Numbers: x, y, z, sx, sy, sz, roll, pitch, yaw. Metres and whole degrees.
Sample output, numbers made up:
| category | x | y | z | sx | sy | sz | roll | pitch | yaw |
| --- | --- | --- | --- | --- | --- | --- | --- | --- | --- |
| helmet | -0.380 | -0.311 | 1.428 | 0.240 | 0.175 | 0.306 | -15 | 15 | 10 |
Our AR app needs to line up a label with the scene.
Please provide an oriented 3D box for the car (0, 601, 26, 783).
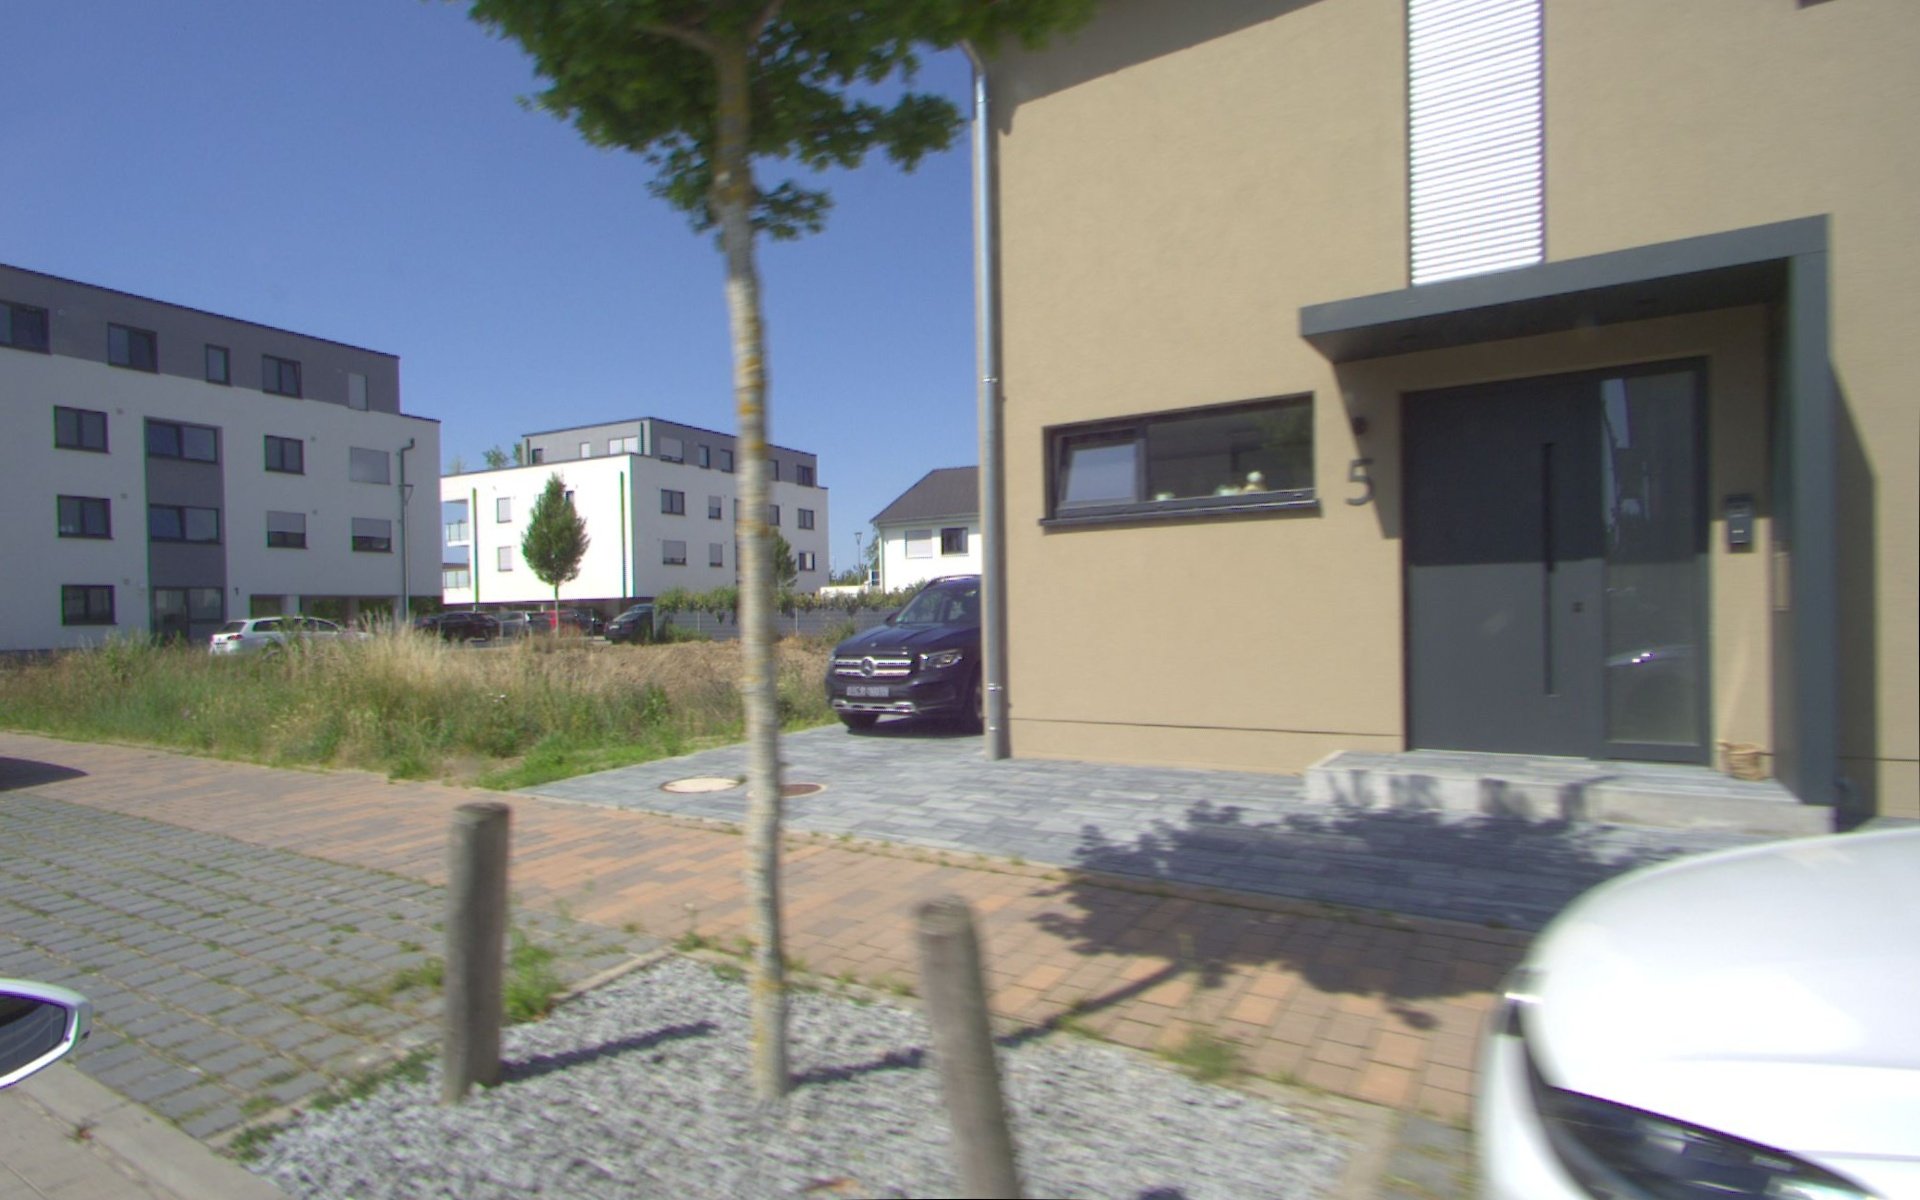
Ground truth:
| category | x | y | z | sx | sy | sz | roll | pitch | yaw |
| --- | --- | --- | --- | --- | --- | --- | --- | --- | --- |
| car | -10.742 | 0.802 | 8.974 | 5.213 | 1.532 | 1.916 | 0 | 1 | 29 |

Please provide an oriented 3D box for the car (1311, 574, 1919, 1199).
| category | x | y | z | sx | sy | sz | roll | pitch | yaw |
| --- | --- | --- | --- | --- | --- | --- | --- | --- | --- |
| car | 2.831 | 0.678 | 0.970 | 4.448 | 1.445 | 1.775 | 0 | 2 | 32 |

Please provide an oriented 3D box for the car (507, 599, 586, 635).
| category | x | y | z | sx | sy | sz | roll | pitch | yaw |
| --- | --- | --- | --- | --- | --- | --- | --- | --- | --- |
| car | -23.044 | 0.950 | 55.801 | 4.108 | 1.833 | 1.875 | -2 | 0 | 28 |

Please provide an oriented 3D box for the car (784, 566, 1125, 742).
| category | x | y | z | sx | sy | sz | roll | pitch | yaw |
| --- | --- | --- | --- | --- | --- | --- | --- | --- | --- |
| car | 0.201 | 0.512 | 12.047 | 1.970 | 1.666 | 4.738 | -2 | 0 | 30 |

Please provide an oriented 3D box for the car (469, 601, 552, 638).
| category | x | y | z | sx | sy | sz | roll | pitch | yaw |
| --- | --- | --- | --- | --- | --- | --- | --- | --- | --- |
| car | -23.933 | 1.050 | 53.307 | 4.108 | 1.833 | 1.875 | -2 | 0 | 28 |

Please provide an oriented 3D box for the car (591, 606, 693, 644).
| category | x | y | z | sx | sy | sz | roll | pitch | yaw |
| --- | --- | --- | --- | --- | --- | --- | --- | --- | --- |
| car | -13.849 | 1.064 | 43.836 | 1.853 | 1.498 | 4.156 | -2 | -1 | 27 |

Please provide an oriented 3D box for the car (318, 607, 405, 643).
| category | x | y | z | sx | sy | sz | roll | pitch | yaw |
| --- | --- | --- | --- | --- | --- | --- | --- | --- | --- |
| car | -27.880 | 1.168 | 46.648 | 3.622 | 1.522 | 1.875 | -2 | -1 | 28 |

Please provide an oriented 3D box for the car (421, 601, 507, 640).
| category | x | y | z | sx | sy | sz | roll | pitch | yaw |
| --- | --- | --- | --- | --- | --- | --- | --- | --- | --- |
| car | -25.077 | 1.050 | 50.617 | 4.108 | 1.833 | 1.875 | -2 | 0 | 28 |

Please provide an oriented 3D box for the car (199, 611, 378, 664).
| category | x | y | z | sx | sy | sz | roll | pitch | yaw |
| --- | --- | --- | --- | --- | --- | --- | --- | --- | --- |
| car | -20.349 | 1.099 | 30.536 | 1.853 | 1.454 | 4.156 | -2 | -1 | 27 |
